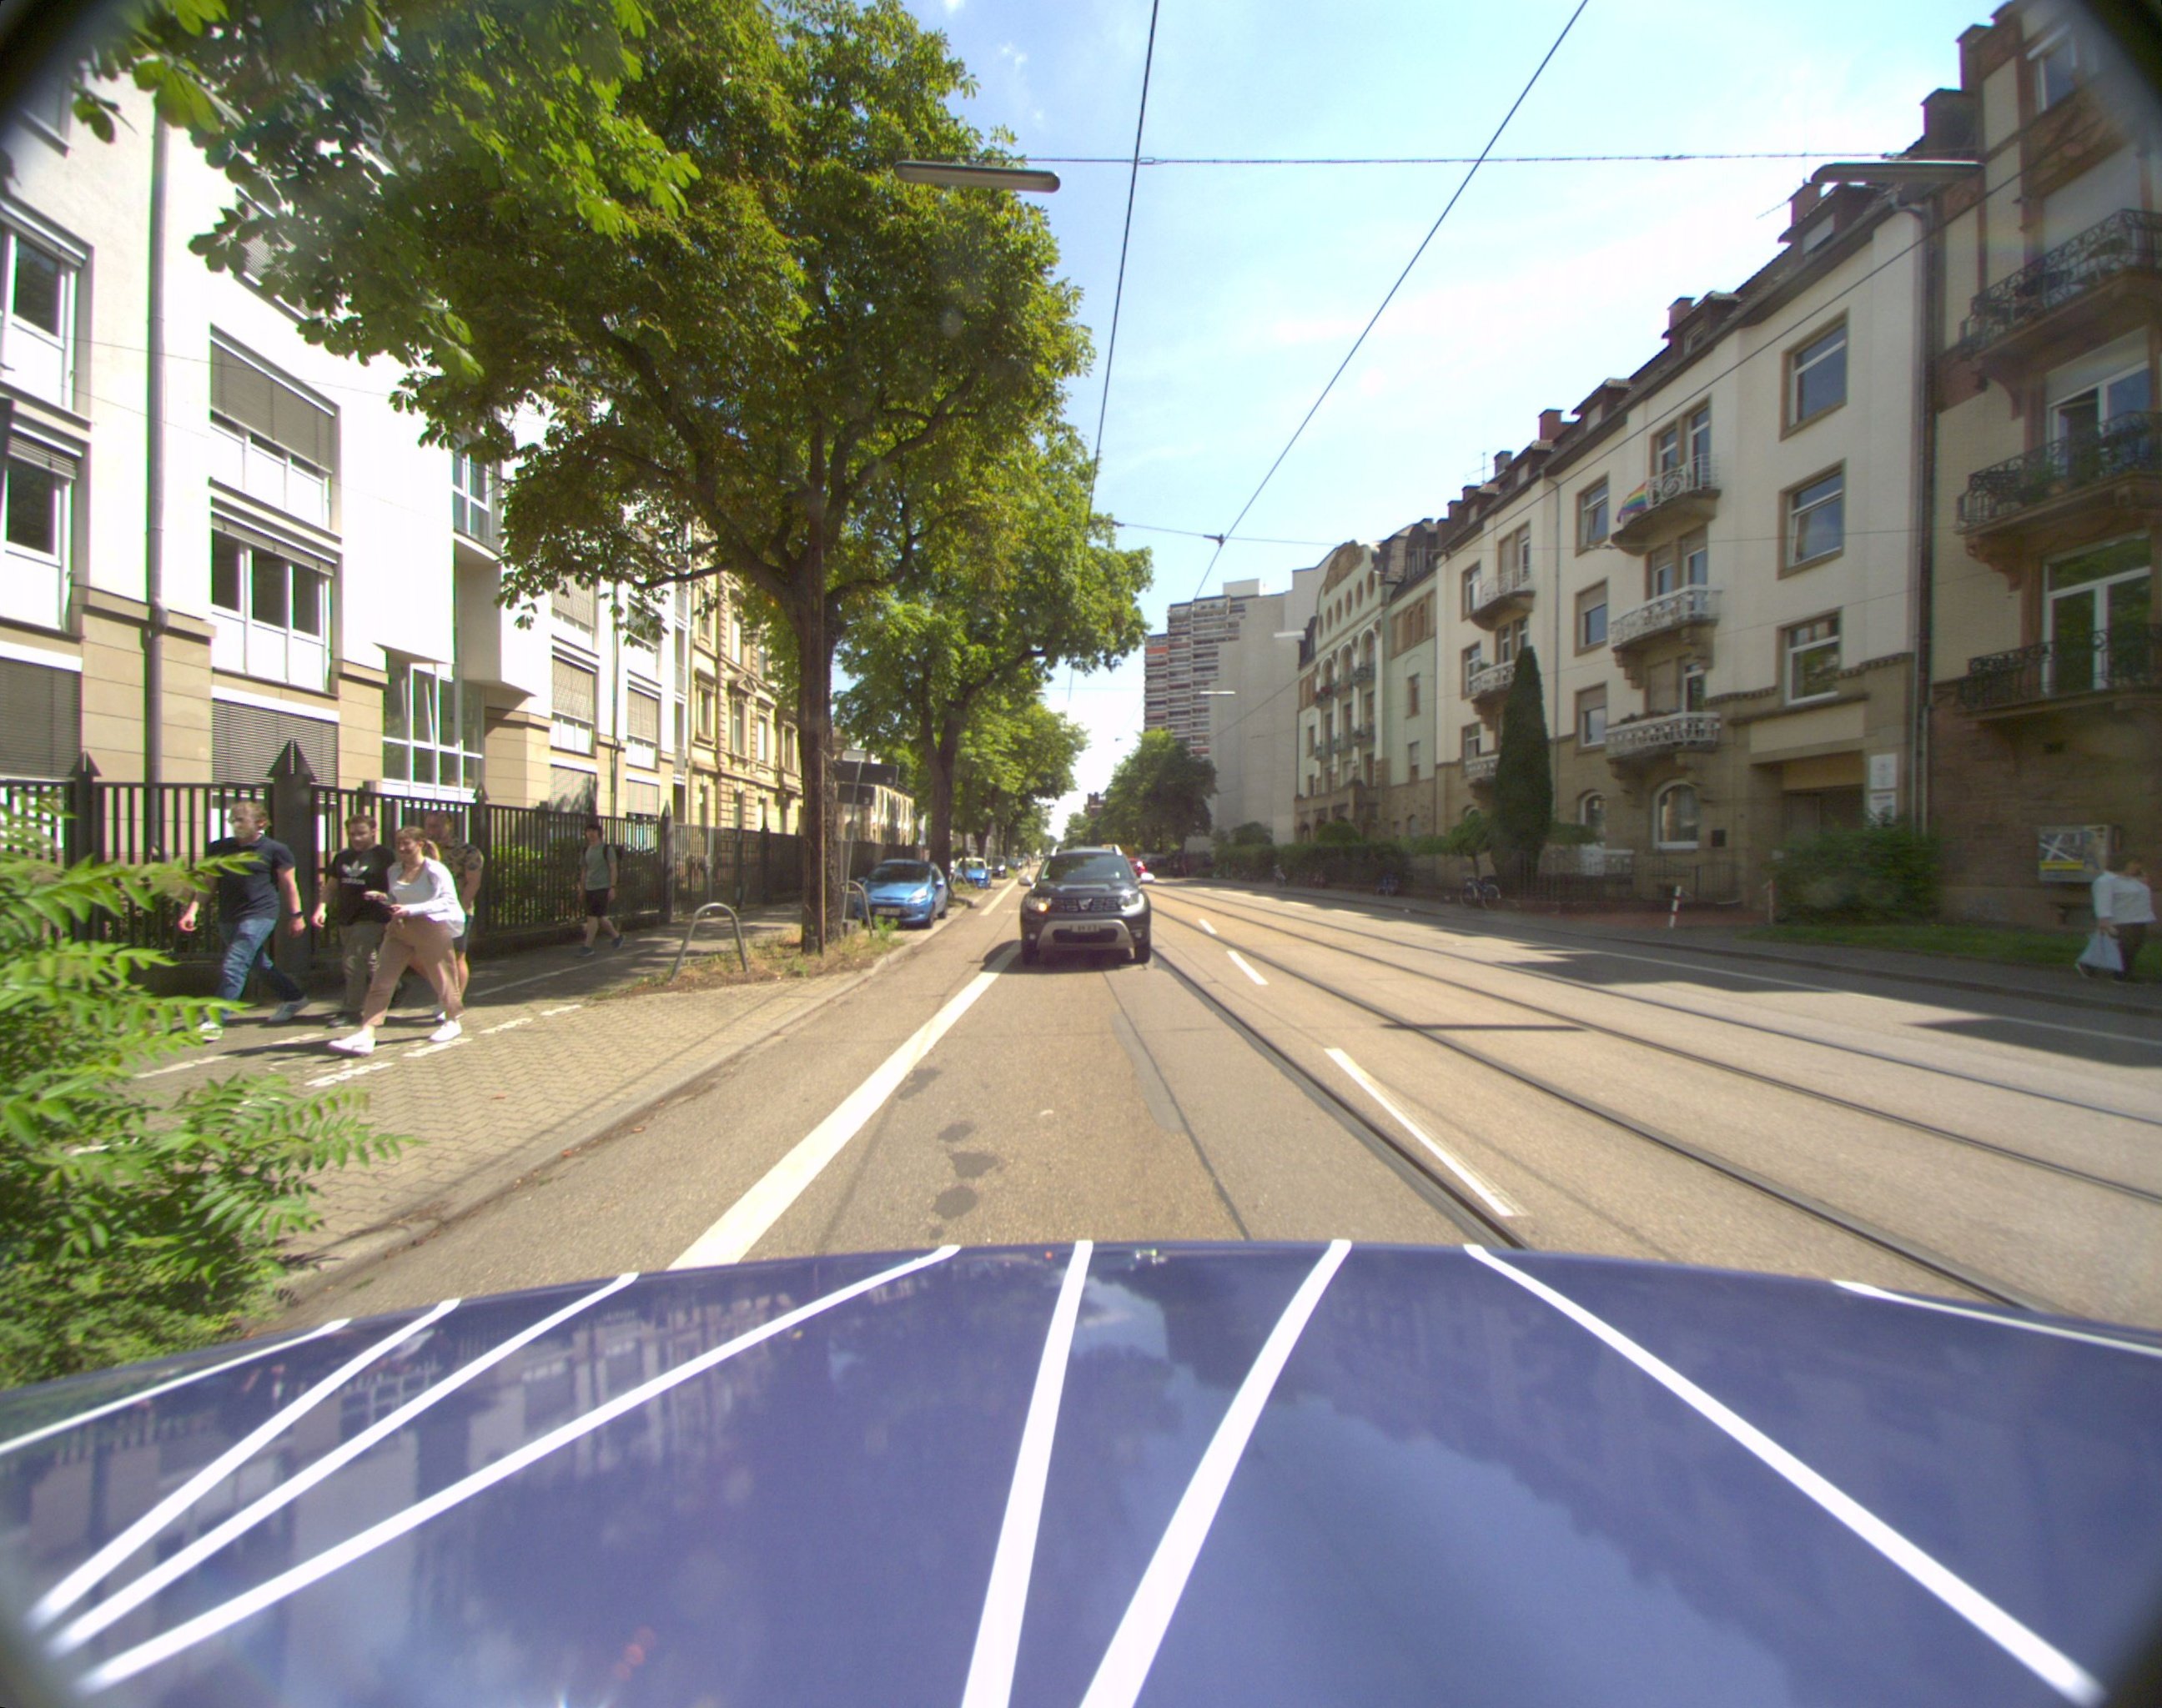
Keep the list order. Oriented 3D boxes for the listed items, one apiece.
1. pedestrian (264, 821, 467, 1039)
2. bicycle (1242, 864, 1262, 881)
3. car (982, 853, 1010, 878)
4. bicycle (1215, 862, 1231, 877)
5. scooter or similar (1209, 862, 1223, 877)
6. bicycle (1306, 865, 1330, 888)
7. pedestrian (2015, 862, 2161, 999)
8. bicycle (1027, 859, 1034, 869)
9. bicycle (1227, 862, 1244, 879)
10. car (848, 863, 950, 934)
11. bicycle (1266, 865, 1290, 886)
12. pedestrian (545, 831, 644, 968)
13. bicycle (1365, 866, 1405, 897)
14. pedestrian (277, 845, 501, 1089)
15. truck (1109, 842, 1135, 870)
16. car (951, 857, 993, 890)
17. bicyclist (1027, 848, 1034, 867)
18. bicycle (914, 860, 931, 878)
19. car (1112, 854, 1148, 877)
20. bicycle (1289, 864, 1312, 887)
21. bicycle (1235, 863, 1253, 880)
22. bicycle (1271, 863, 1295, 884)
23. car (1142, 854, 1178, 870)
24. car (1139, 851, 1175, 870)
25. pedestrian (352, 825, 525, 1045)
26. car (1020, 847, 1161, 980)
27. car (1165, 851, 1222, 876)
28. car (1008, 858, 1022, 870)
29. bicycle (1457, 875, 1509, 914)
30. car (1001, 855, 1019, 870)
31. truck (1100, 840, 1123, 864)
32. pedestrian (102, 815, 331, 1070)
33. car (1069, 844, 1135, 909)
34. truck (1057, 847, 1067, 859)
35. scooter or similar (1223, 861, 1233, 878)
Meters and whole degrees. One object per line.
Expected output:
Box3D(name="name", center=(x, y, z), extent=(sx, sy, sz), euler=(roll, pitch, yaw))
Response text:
Box3D(name="pedestrian", center=(-6.206, 0.616, 6.666), extent=(0.789, 1.751, 1.052), euler=(1, 0, 0))
Box3D(name="bicycle", center=(10.150, 1.086, 45.162), extent=(0.609, 0.970, 1.771), euler=(-3, 0, -3))
Box3D(name="car", center=(-6.094, 0.804, 54.820), extent=(1.734, 1.606, 4.083), euler=(3, 0, -3))
Box3D(name="bicycle", center=(9.811, 1.076, 52.446), extent=(0.609, 0.983, 1.707), euler=(-3, 0, -3))
Box3D(name="scooter or similar", center=(9.609, 1.088, 54.087), extent=(0.407, 1.014, 1.222), euler=(0, 0, -19))
Box3D(name="bicycle", center=(10.766, 1.010, 34.506), extent=(0.414, 0.960, 1.725), euler=(-3, 0, -3))
Box3D(name="pedestrian", center=(12.253, 0.871, 9.107), extent=(0.903, 1.533, 0.984), euler=(0, 0, -6))
Box3D(name="bicycle", center=(-5.554, 1.117, 83.694), extent=(0.812, 1.089, 2.173), euler=(0, 0, -5))
Box3D(name="bicycle", center=(9.935, 1.049, 49.034), extent=(0.609, 0.983, 1.707), euler=(-3, 0, -3))
Box3D(name="car", center=(-4.076, 0.940, 17.564), extent=(1.682, 1.435, 3.719), euler=(1, 0, -4))
Box3D(name="bicycle", center=(9.617, 1.044, 37.075), extent=(0.608, 0.993, 1.778), euler=(1, 0, 33))
Box3D(name="pedestrian", center=(-6.654, 0.598, 10.450), extent=(0.686, 1.787, 1.083), euler=(1, 0, -3))
Box3D(name="bicycle", center=(11.116, 0.982, 27.869), extent=(0.609, 1.058, 1.771), euler=(-3, 0, -3))
Box3D(name="pedestrian", center=(-5.026, 0.765, 5.600), extent=(0.768, 1.641, 0.974), euler=(1, 0, -2))
Box3D(name="truck", center=(4.396, 0.207, 82.377), extent=(2.307, 2.903, 6.514), euler=(1, 0, -2))
Box3D(name="car", center=(-5.081, 0.870, 35.776), extent=(1.696, 1.444, 3.472), euler=(1, 0, -4))
Box3D(name="bicyclist", center=(-5.575, 0.364, 83.606), extent=(0.773, 2.002, 0.807), euler=(1, 1, -4))
Box3D(name="bicycle", center=(-9.342, 0.877, 44.882), extent=(0.609, 1.065, 1.980), euler=(1, 0, -1))
Box3D(name="car", center=(3.192, 0.756, 50.291), extent=(1.828, 1.405, 4.427), euler=(2, 0, -3))
Box3D(name="bicycle", center=(10.498, 1.016, 36.337), extent=(0.465, 0.993, 1.707), euler=(-3, 0, -3))
Box3D(name="bicycle", center=(10.093, 1.060, 47.030), extent=(0.609, 0.983, 1.707), euler=(-3, 0, -3))
Box3D(name="bicycle", center=(10.515, 1.014, 39.606), extent=(0.609, 1.026, 1.771), euler=(-3, 0, -3))
Box3D(name="car", center=(8.134, 0.859, 78.008), extent=(1.677, 1.565, 3.692), euler=(2, 1, 45))
Box3D(name="car", center=(8.172, 0.702, 81.557), extent=(4.062, 2.030, 1.597), euler=(1, 0, -43))
Box3D(name="pedestrian", center=(-5.520, 0.657, 6.595), extent=(0.706, 1.766, 0.947), euler=(1, 0, -2))
Box3D(name="car", center=(0.036, 0.753, 11.763), extent=(1.753, 1.641, 4.297), euler=(-1, 0, -2))
Box3D(name="car", center=(9.186, 0.768, 61.842), extent=(4.596, 1.914, 1.956), euler=(1, 0, -40))
Box3D(name="car", center=(-8.332, 1.212, 96.392), extent=(1.626, 1.394, 3.999), euler=(3, 0, -3))
Box3D(name="bicycle", center=(11.466, 1.135, 21.747), extent=(0.411, 0.955, 1.840), euler=(-3, 1, -3))
Box3D(name="car", center=(-7.165, 0.875, 76.975), extent=(1.626, 1.394, 3.822), euler=(3, 0, -3))
Box3D(name="truck", center=(5.530, -0.309, 136.728), extent=(2.672, 4.155, 10.482), euler=(1, 0, 11))
Box3D(name="pedestrian", center=(-6.607, 0.631, 5.874), extent=(0.662, 1.801, 0.977), euler=(1, 0, -3))
Box3D(name="car", center=(0.589, 0.661, 24.121), extent=(1.753, 1.806, 4.307), euler=(-2, 0, -2))
Box3D(name="truck", center=(-5.776, -0.368, 234.526), extent=(2.792, 3.598, 8.255), euler=(1, 0, 0))
Box3D(name="scooter or similar", center=(9.812, 1.008, 50.673), extent=(0.407, 1.113, 1.290), euler=(0, 0, -1))
